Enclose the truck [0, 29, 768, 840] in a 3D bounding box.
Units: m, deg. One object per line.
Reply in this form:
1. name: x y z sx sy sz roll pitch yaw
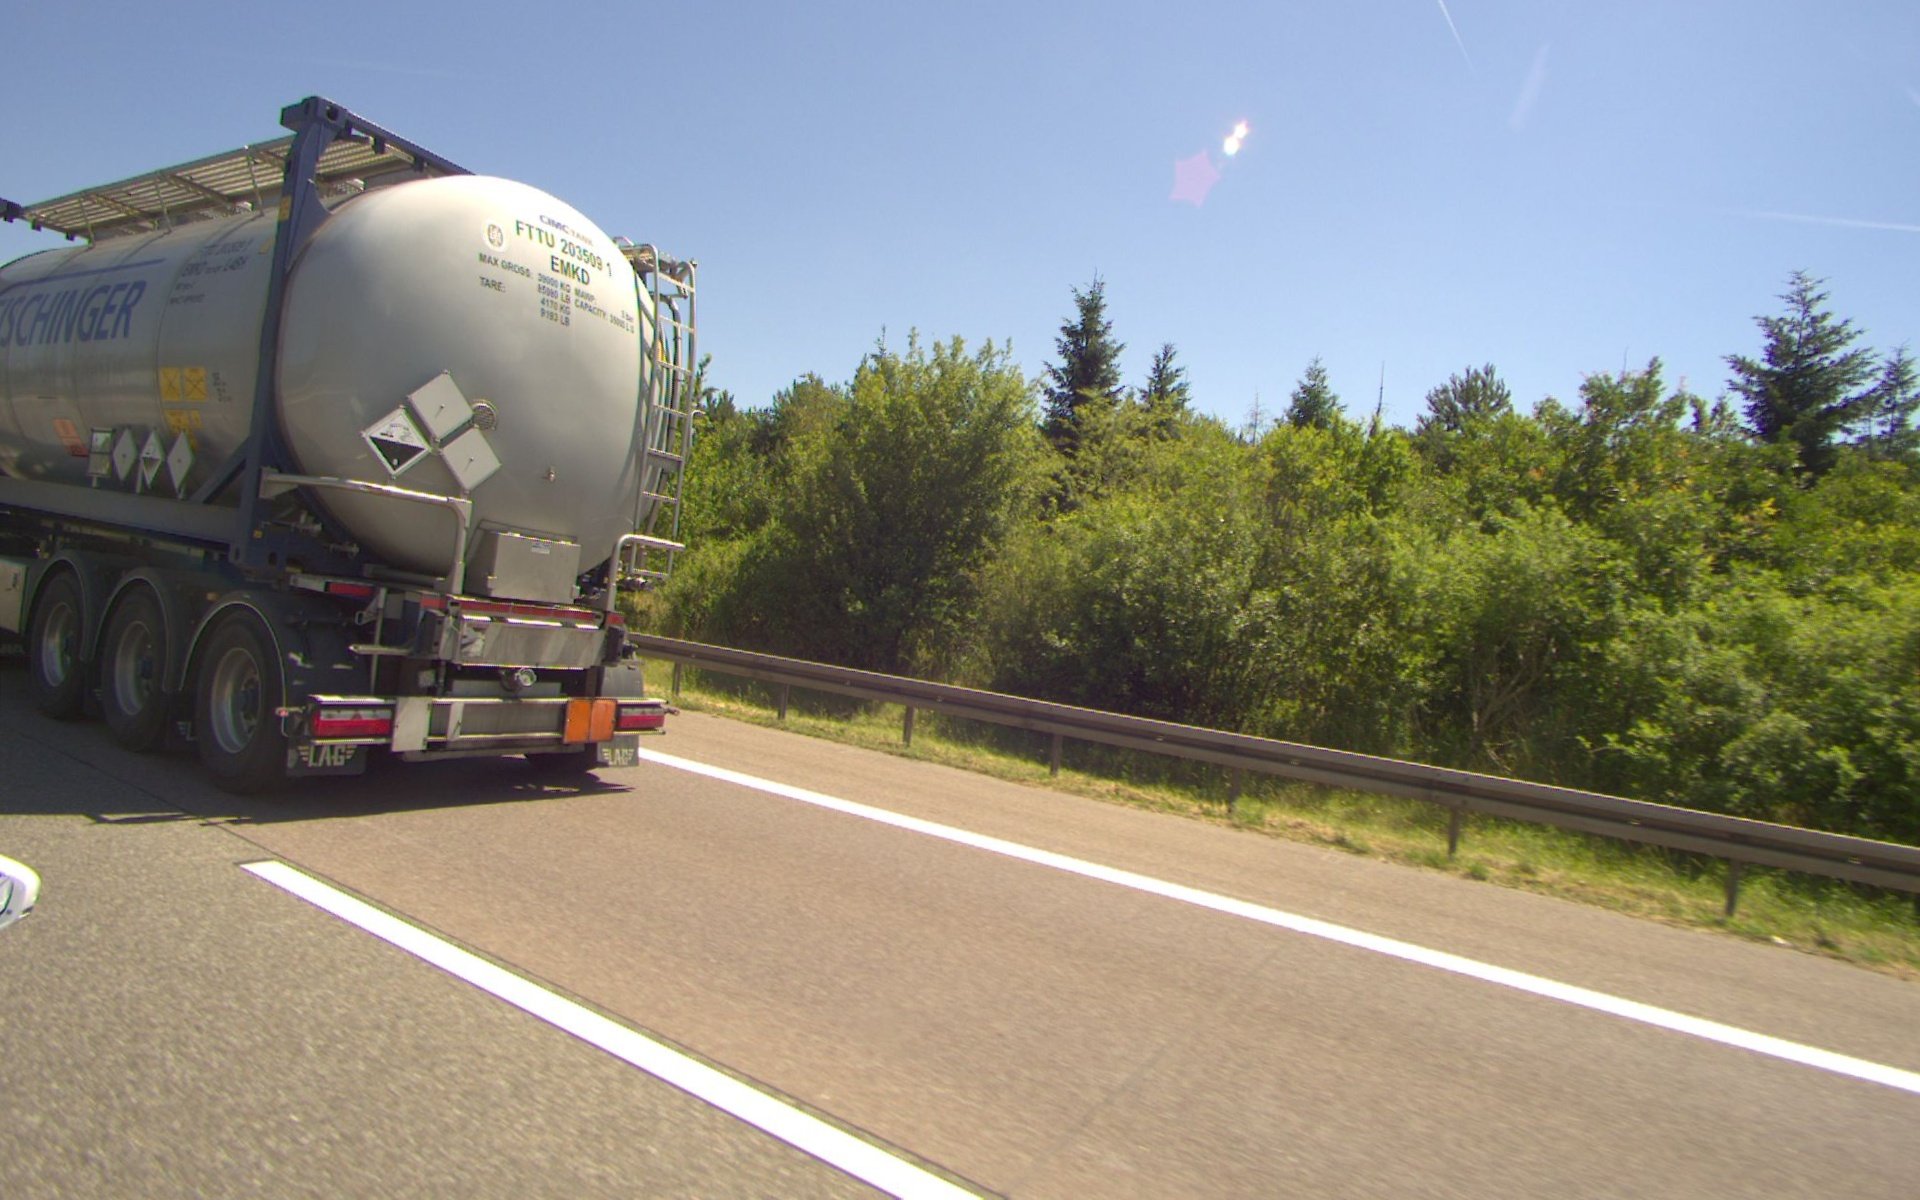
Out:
1. truck: -7.937 -1.298 9.680 13.133 4.093 2.804 6 -2 32
